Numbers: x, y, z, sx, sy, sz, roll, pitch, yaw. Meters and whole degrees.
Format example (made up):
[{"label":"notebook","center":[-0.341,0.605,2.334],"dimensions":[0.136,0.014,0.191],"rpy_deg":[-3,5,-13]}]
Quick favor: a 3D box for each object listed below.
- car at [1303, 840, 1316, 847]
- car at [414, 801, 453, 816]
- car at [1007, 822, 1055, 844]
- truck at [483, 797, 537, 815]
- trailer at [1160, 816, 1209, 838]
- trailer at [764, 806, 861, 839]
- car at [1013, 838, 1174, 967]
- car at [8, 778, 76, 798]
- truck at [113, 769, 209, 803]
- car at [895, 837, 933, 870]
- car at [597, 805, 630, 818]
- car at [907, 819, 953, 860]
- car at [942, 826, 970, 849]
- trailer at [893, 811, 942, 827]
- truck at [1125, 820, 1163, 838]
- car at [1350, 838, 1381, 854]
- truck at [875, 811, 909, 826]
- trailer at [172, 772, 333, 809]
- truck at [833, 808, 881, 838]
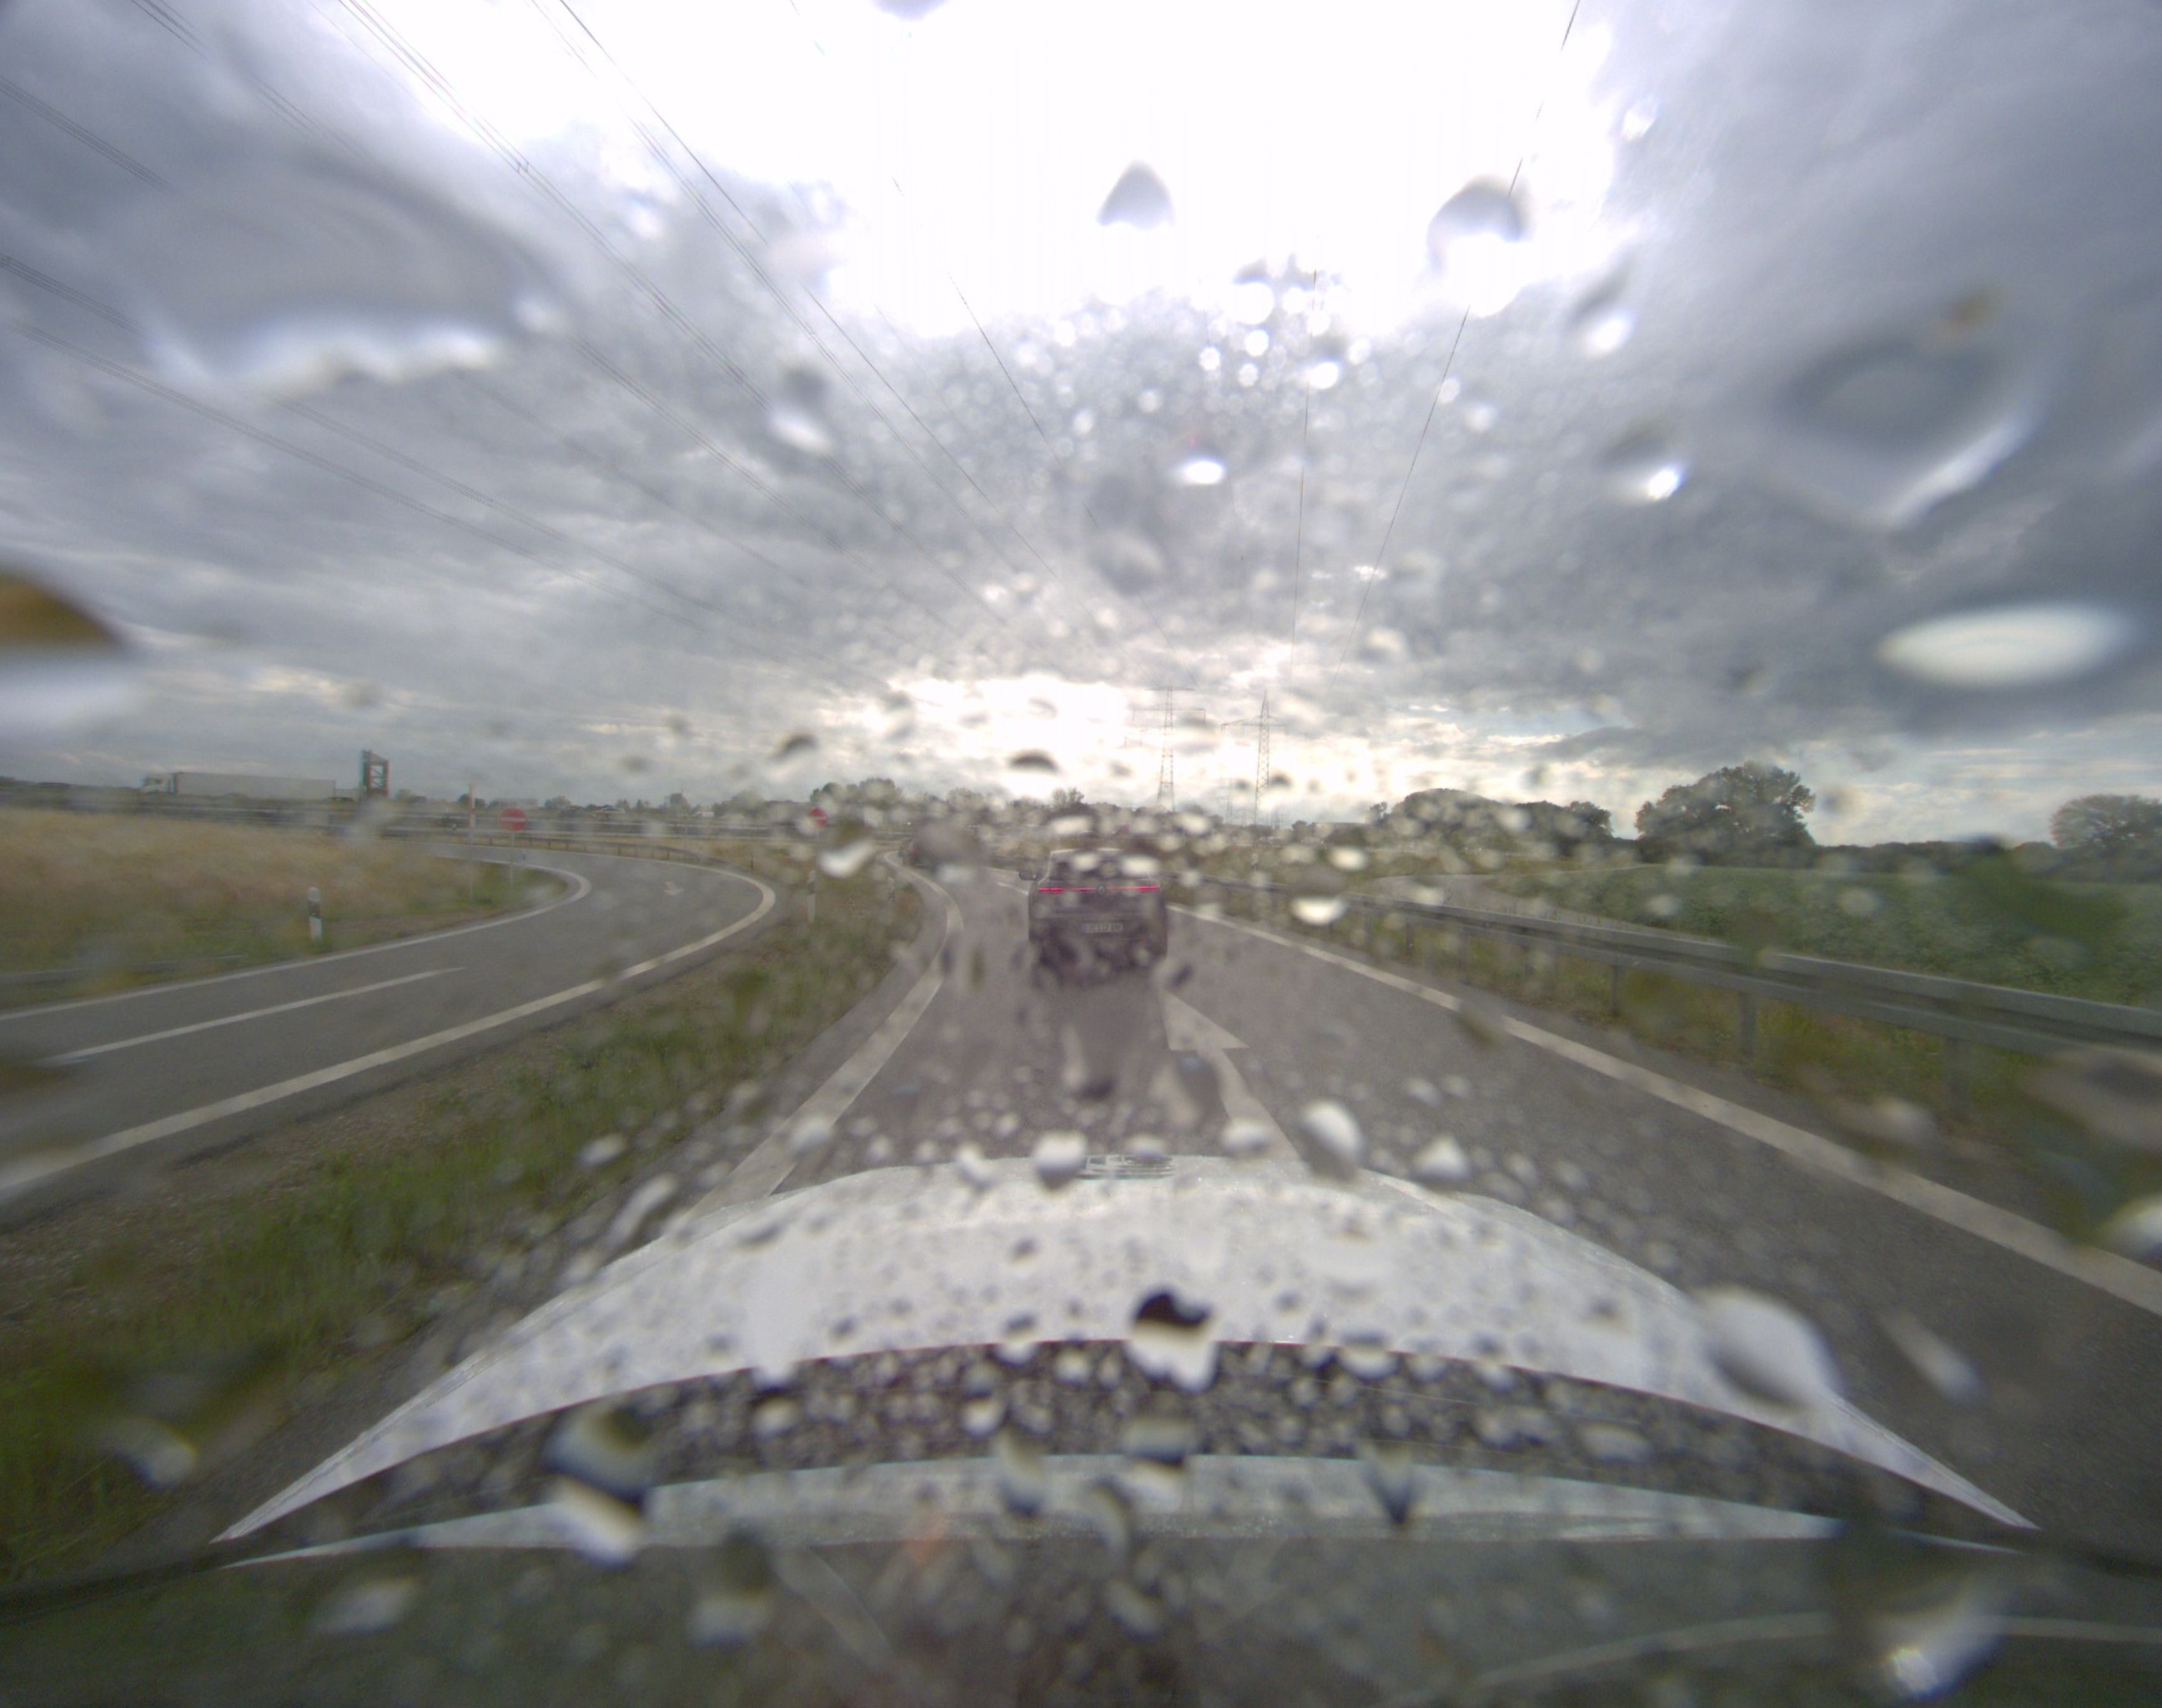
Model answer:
[{"label":"car","center":[64.542,-2.998,230.304],"dimensions":[1.975,1.603,4.025],"rpy_deg":[4,4,42]},{"label":"car","center":[-86.738,-6.133,109.180],"dimensions":[4.021,1.848,1.871],"rpy_deg":[-1,4,-41]},{"label":"car","center":[-6.929,-3.006,114.045],"dimensions":[3.107,2.950,7.254],"rpy_deg":[3,3,29]},{"label":"truck","center":[-85.707,-7.252,122.286],"dimensions":[6.345,2.499,1.976],"rpy_deg":[-1,4,-44]},{"label":"trailer","center":[23.121,-5.946,181.201],"dimensions":[13.377,4.634,3.021],"rpy_deg":[-1,4,-43]},{"label":"trailer","center":[-39.807,-4.626,121.375],"dimensions":[13.465,4.615,3.443],"rpy_deg":[-1,4,-42]},{"label":"car","center":[0.105,0.563,12.220],"dimensions":[1.988,1.566,4.146],"rpy_deg":[-1,1,-2]},{"label":"car","center":[-106.853,-6.777,83.812],"dimensions":[4.021,1.848,1.871],"rpy_deg":[-1,4,-41]},{"label":"truck","center":[-110.732,-8.122,98.193],"dimensions":[7.421,3.540,2.791],"rpy_deg":[1,2,-44]},{"label":"car","center":[-12.995,-0.091,63.710],"dimensions":[2.348,2.306,5.119],"rpy_deg":[1,3,-6]},{"label":"car","center":[-69.412,-6.303,121.006],"dimensions":[4.021,1.848,1.871],"rpy_deg":[-1,4,-41]},{"label":"car","center":[-8.296,-0.840,44.311],"dimensions":[2.124,2.017,5.510],"rpy_deg":[1,3,-14]},{"label":"car","center":[-13.858,-1.901,90.579],"dimensions":[2.345,2.306,5.126],"rpy_deg":[1,3,-2]},{"label":"trailer","center":[-34.293,-7.342,171.343],"dimensions":[10.545,3.025,2.292],"rpy_deg":[-1,4,-44]},{"label":"truck","center":[16.557,-6.489,213.687],"dimensions":[12.566,4.123,1.976],"rpy_deg":[1,1,-43]},{"label":"car","center":[70.250,-2.036,200.948],"dimensions":[9.096,3.610,3.353],"rpy_deg":[1,1,-45]},{"label":"truck","center":[-38.756,-7.227,166.925],"dimensions":[6.506,3.025,2.292],"rpy_deg":[-1,4,-44]},{"label":"trailer","center":[-104.966,-8.002,103.689],"dimensions":[14.180,3.670,2.825],"rpy_deg":[1,2,-44]},{"label":"truck","center":[-34.606,-4.785,126.030],"dimensions":[6.302,4.564,3.312],"rpy_deg":[-1,4,-42]}]
